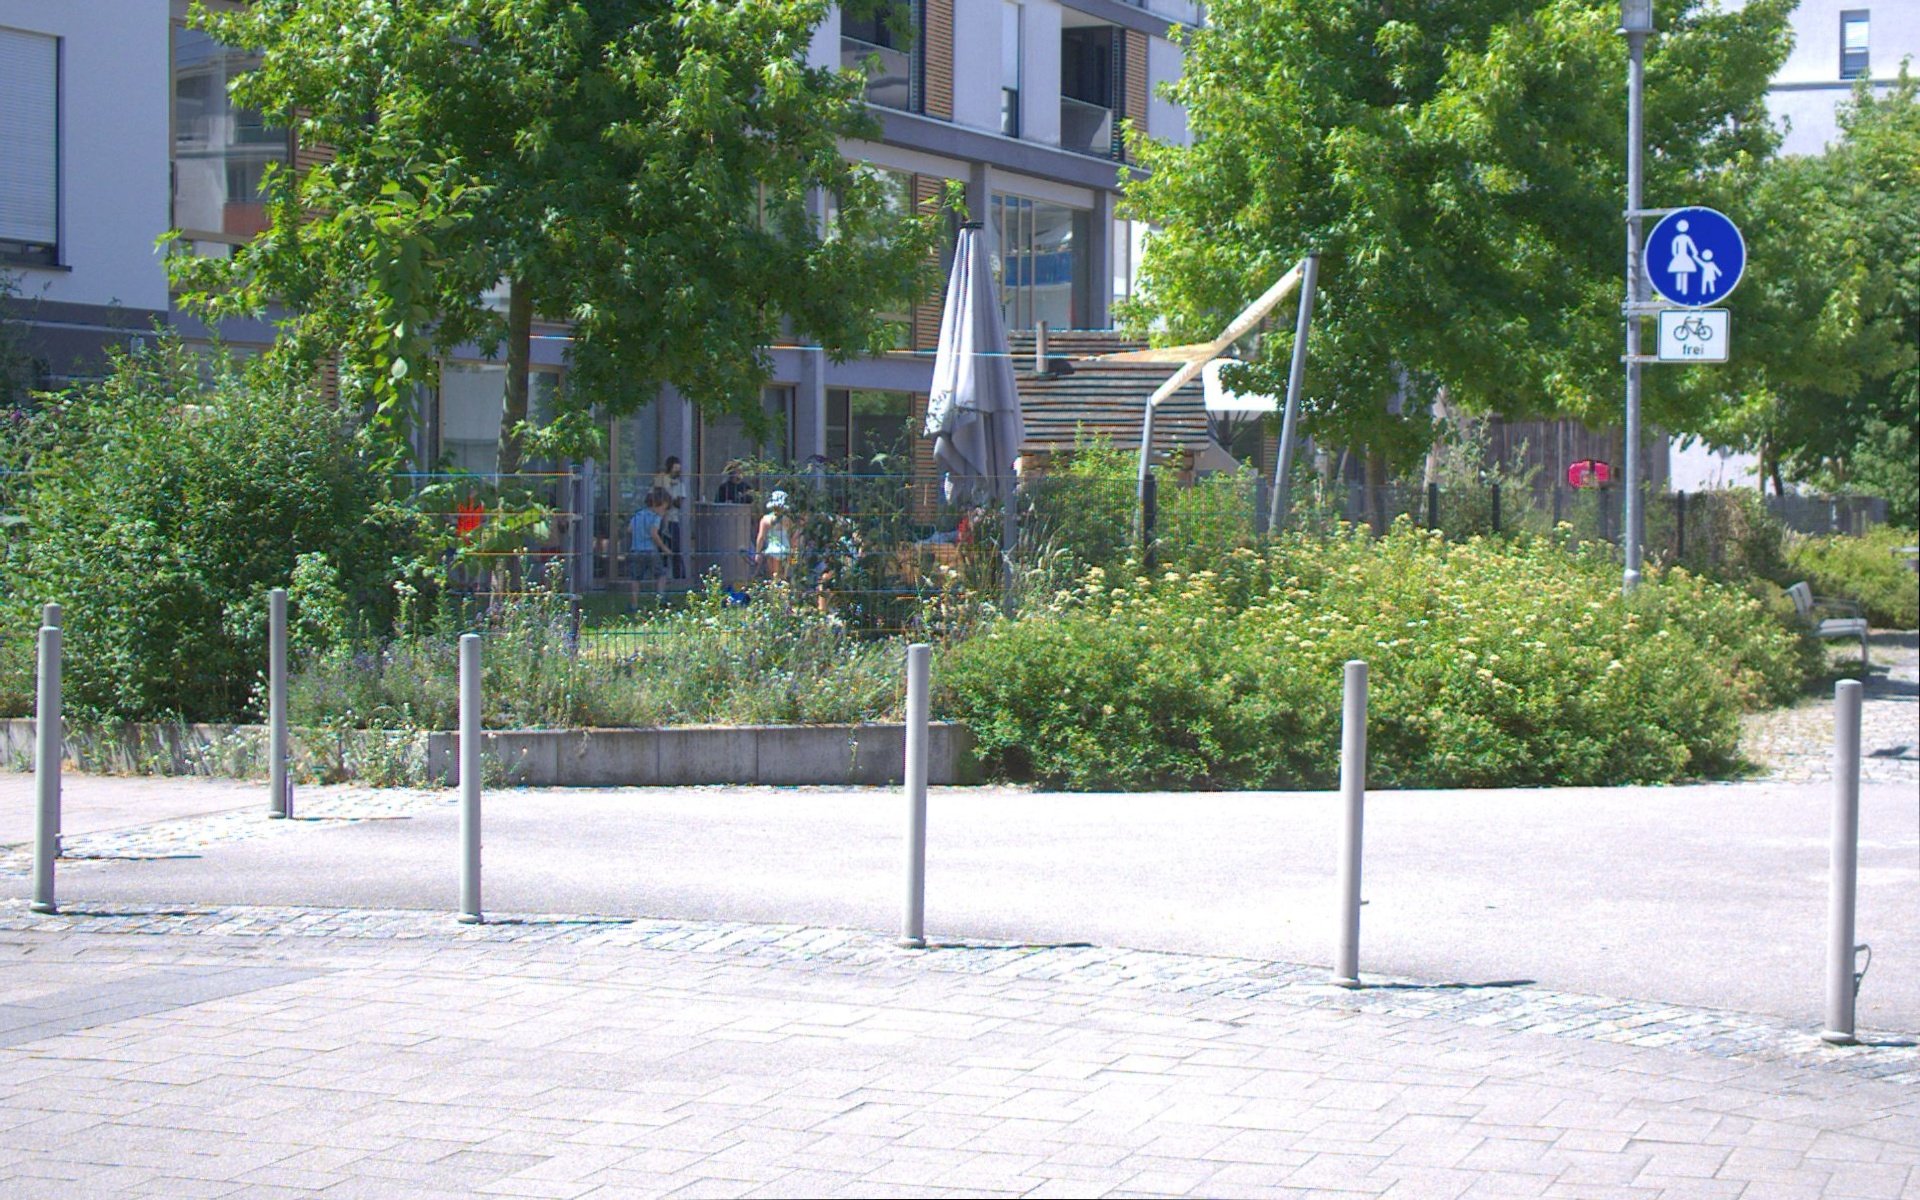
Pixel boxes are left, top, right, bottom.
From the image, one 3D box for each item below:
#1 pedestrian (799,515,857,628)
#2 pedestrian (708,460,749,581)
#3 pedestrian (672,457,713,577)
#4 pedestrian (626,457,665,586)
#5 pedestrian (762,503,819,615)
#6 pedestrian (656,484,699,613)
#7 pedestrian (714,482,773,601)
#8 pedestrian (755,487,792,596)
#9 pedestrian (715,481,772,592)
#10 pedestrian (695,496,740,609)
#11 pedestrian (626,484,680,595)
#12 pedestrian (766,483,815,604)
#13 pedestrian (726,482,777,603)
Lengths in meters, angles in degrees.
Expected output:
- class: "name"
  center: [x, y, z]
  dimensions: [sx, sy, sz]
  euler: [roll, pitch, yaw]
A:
- class: "pedestrian"
  center: [-1.147, -0.254, 29.857]
  dimensions: [0.387, 0.968, 0.290]
  euler: [2, 2, 36]
- class: "pedestrian"
  center: [-2.913, -1.005, 43.279]
  dimensions: [0.395, 1.503, 0.463]
  euler: [1, 1, -17]
- class: "pedestrian"
  center: [-3.366, -1.043, 43.206]
  dimensions: [0.395, 1.503, 0.463]
  euler: [1, 1, -17]
- class: "pedestrian"
  center: [-4.156, -1.033, 45.397]
  dimensions: [0.336, 1.685, 0.462]
  euler: [2, 1, 17]
- class: "pedestrian"
  center: [-1.562, -0.379, 31.718]
  dimensions: [0.396, 1.022, 0.412]
  euler: [1, 1, 14]
- class: "pedestrian"
  center: [-3.738, -0.684, 45.459]
  dimensions: [0.396, 1.685, 0.462]
  euler: [2, 1, 17]
- class: "pedestrian"
  center: [-1.876, -0.507, 29.798]
  dimensions: [0.410, 1.021, 0.282]
  euler: [1, 1, -33]
- class: "pedestrian"
  center: [-1.809, -0.572, 33.390]
  dimensions: [0.321, 1.050, 0.290]
  euler: [1, 1, 2]
- class: "pedestrian"
  center: [-2.024, -0.593, 32.135]
  dimensions: [0.410, 1.021, 0.315]
  euler: [1, 1, -33]
- class: "pedestrian"
  center: [-3.258, -0.640, 46.171]
  dimensions: [0.461, 1.503, 0.397]
  euler: [0, 2, -26]
- class: "pedestrian"
  center: [-2.751, -0.541, 30.805]
  dimensions: [0.369, 0.983, 0.412]
  euler: [1, 1, 10]
- class: "pedestrian"
  center: [-1.481, -0.494, 30.059]
  dimensions: [0.286, 1.050, 0.290]
  euler: [2, 2, 43]
- class: "pedestrian"
  center: [-1.827, -0.503, 30.178]
  dimensions: [0.322, 1.050, 0.290]
  euler: [2, 2, 43]
